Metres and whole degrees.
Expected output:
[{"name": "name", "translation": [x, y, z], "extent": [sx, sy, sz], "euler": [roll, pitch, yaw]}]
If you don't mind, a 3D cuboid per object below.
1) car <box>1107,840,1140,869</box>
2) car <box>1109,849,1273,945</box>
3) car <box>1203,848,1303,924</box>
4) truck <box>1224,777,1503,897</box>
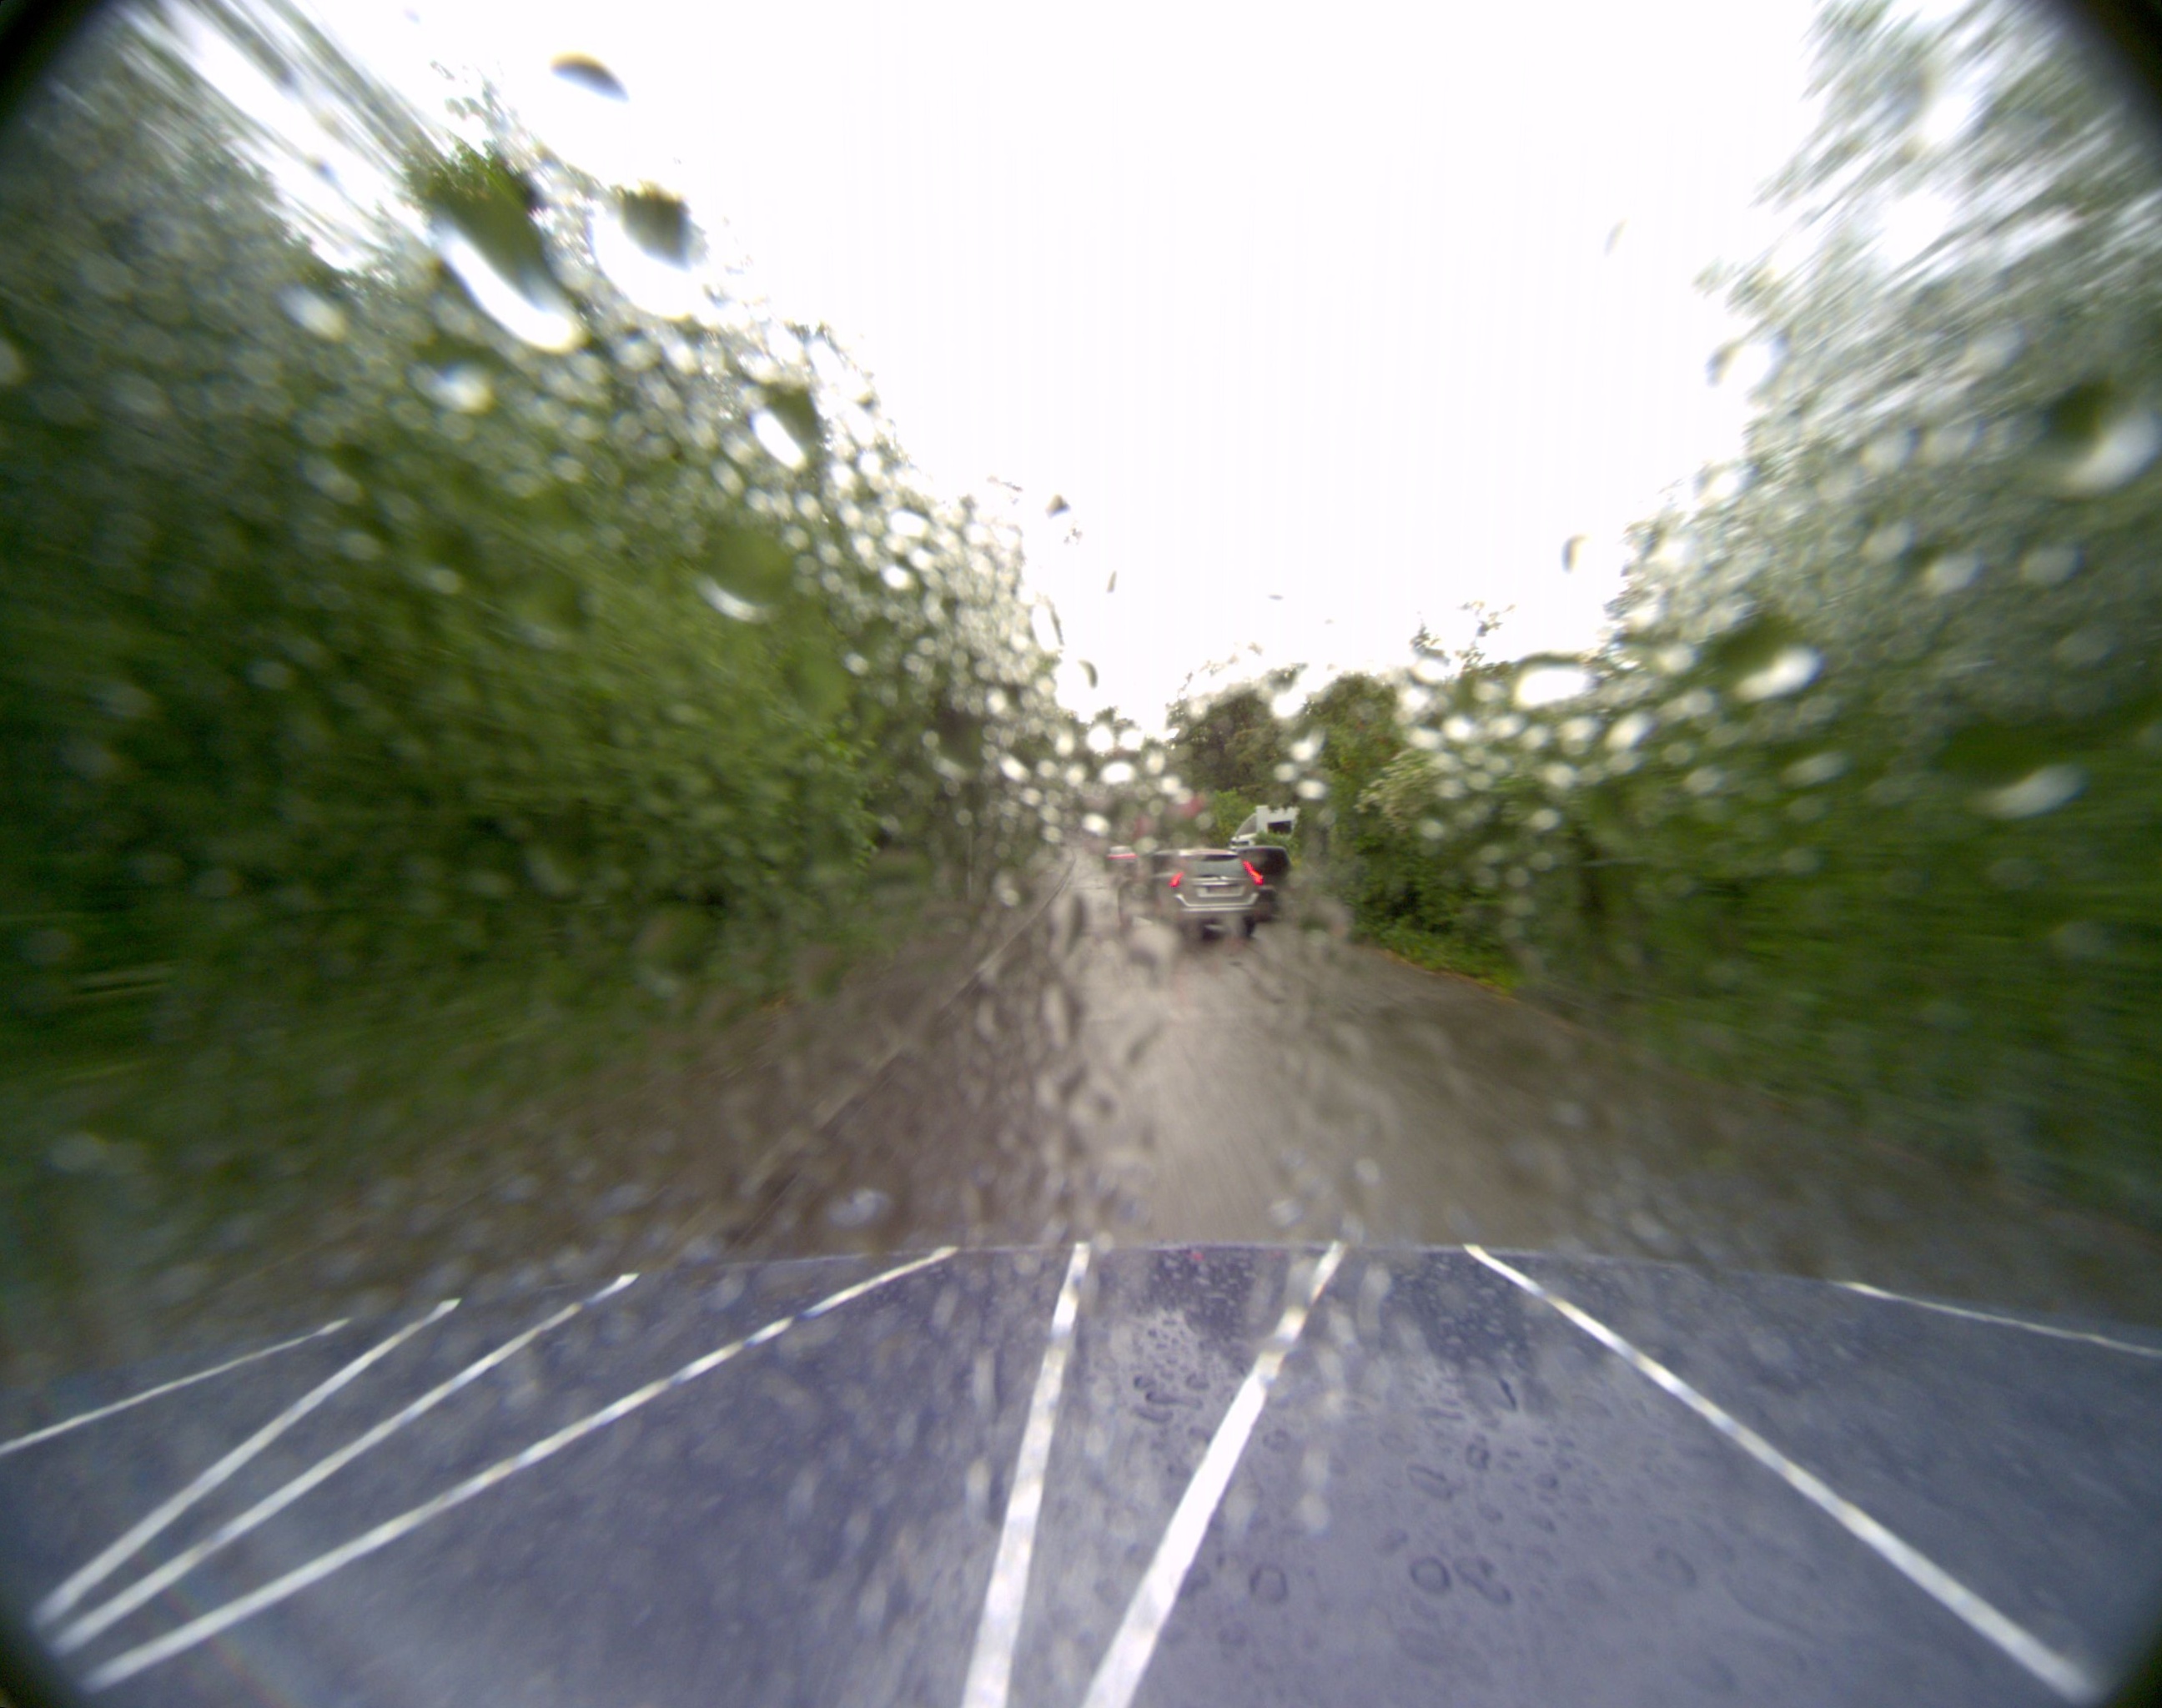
[{"name": "car", "translation": [2.613, -0.029, 47.372], "extent": [1.959, 1.608, 4.679], "euler": [-1, 2, 2]}, {"name": "car", "translation": [2.006, 0.777, 15.354], "extent": [1.929, 1.611, 4.458], "euler": [-1, -1, -10]}, {"name": "car", "translation": [4.309, 0.746, 19.666], "extent": [1.690, 1.717, 4.068], "euler": [2, 0, 1]}, {"name": "truck", "translation": [9.844, -0.478, 27.698], "extent": [2.773, 3.693, 9.226], "euler": [-1, 0, -43]}]
